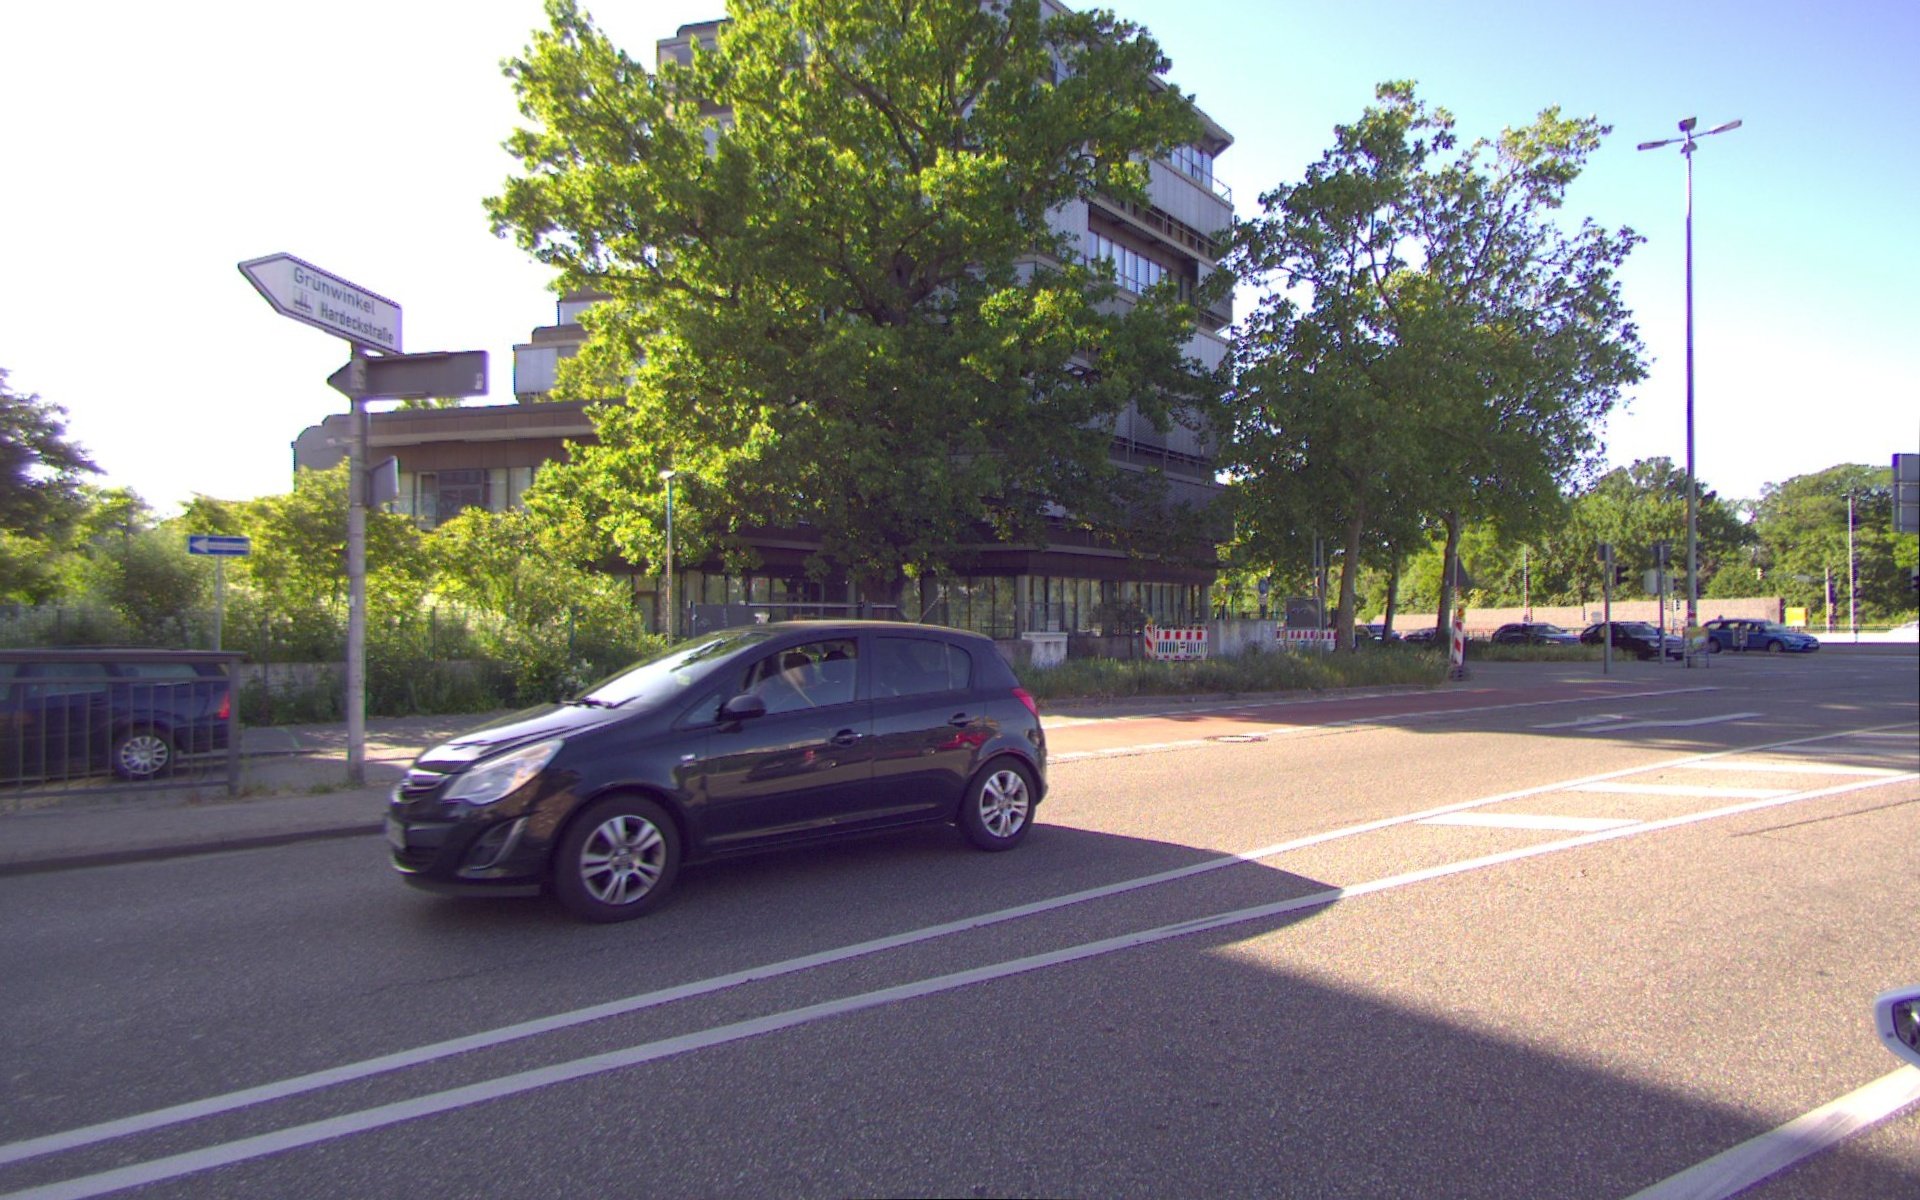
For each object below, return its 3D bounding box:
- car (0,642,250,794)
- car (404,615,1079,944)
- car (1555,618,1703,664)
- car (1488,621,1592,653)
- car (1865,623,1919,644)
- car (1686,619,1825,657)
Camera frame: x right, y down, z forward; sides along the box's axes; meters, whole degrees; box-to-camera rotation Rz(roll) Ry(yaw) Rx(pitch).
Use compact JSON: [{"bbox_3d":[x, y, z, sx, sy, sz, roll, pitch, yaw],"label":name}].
[{"bbox_3d":[-10.690,1.334,11.312,4.339,1.528,1.642,-1,-2,-38],"label":"car"},{"bbox_3d":[-1.141,0.857,6.193,3.790,1.426,1.555,2,-3,-40],"label":"car"},{"bbox_3d":[25.820,1.528,38.990,1.918,1.643,4.773,0,-1,-13],"label":"car"},{"bbox_3d":[26.103,1.629,45.398,1.844,1.376,4.507,0,-1,-4],"label":"car"},{"bbox_3d":[70.028,2.465,74.332,1.753,1.400,4.512,0,0,-8],"label":"car"},{"bbox_3d":[34.341,1.608,43.511,1.919,1.561,4.443,0,-1,-16],"label":"car"}]
